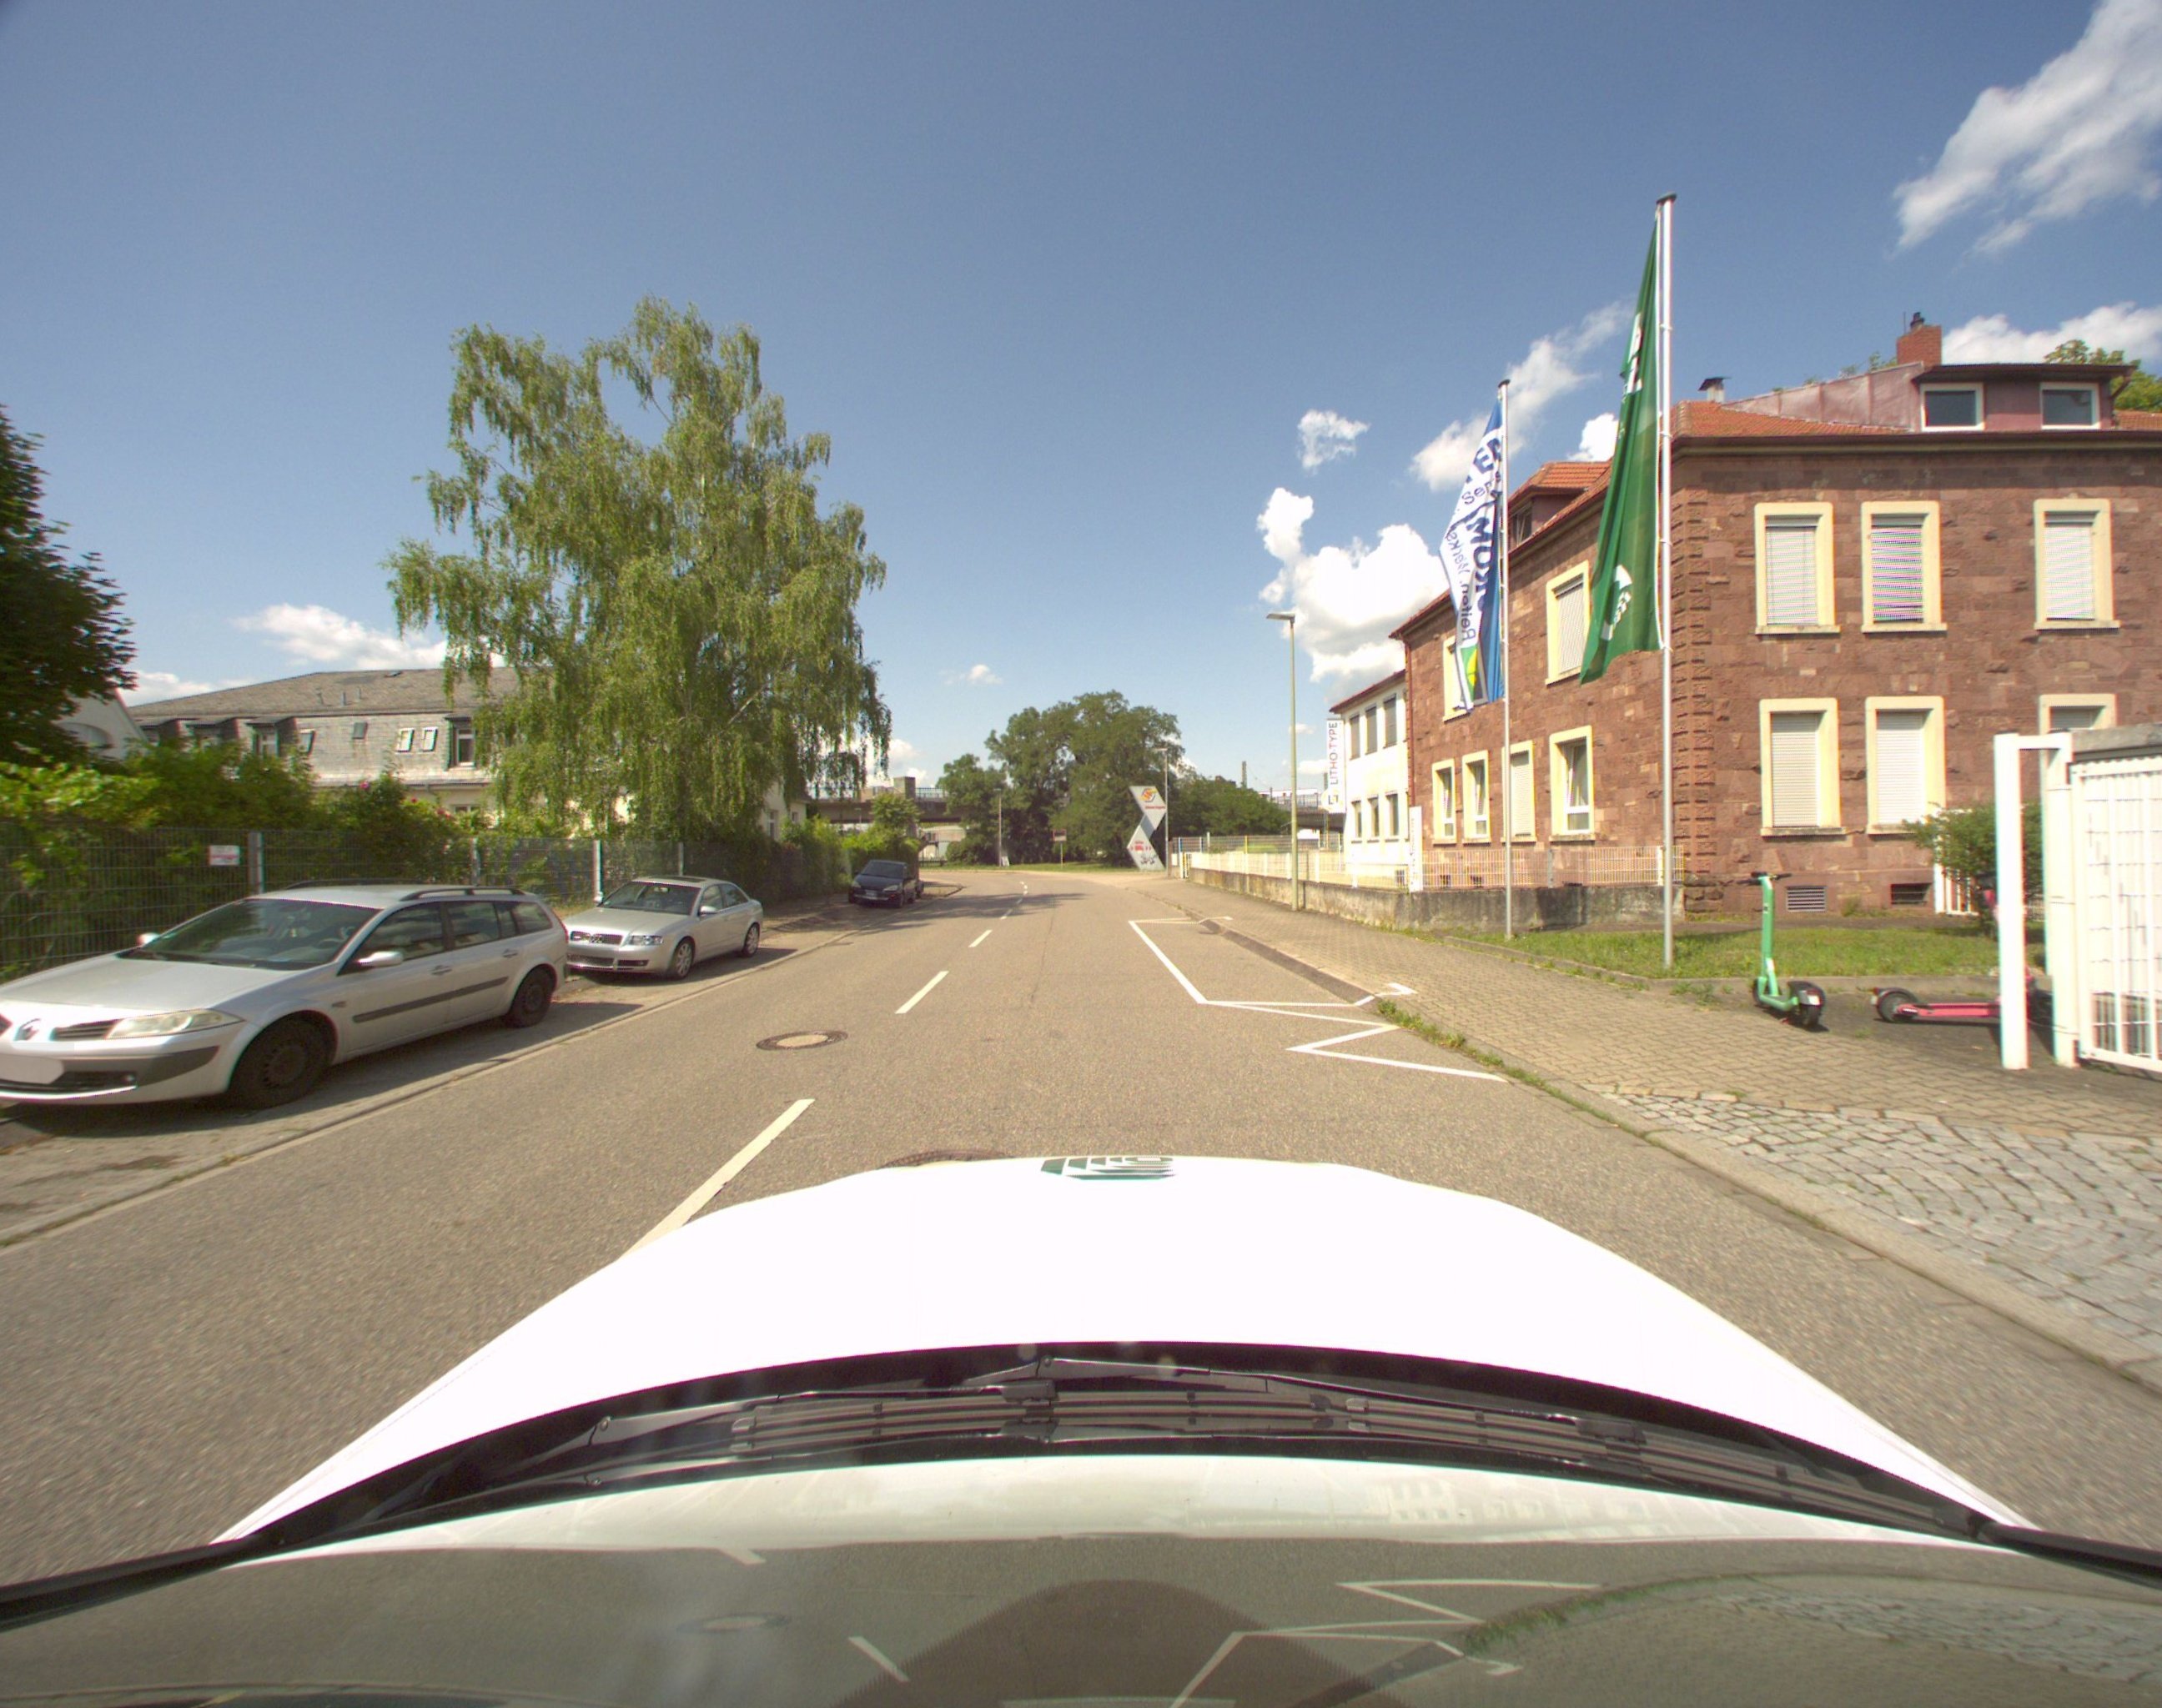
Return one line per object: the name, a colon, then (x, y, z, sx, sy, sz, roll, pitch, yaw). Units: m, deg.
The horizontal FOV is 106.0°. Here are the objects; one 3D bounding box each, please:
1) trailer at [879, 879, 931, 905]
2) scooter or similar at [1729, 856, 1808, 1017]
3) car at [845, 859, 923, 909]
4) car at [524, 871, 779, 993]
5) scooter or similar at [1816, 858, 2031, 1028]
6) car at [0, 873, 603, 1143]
trailer: (-6.922, 1.468, 32.155, 1.459, 0.851, 2.466, 3, 0, 0)
scooter or similar: (5.778, 0.676, 6.855, 0.332, 1.312, 0.366, -1, 0, -1)
car: (-6.608, 0.981, 27.766, 1.678, 1.512, 4.154, 3, -1, -2)
car: (-6.620, 1.099, 13.261, 1.719, 1.477, 4.628, 3, 0, -2)
scooter or similar: (6.452, 0.675, 6.276, 1.137, 1.245, 0.260, -2, -1, 17)
car: (-6.565, 1.007, 7.321, 1.789, 1.527, 4.657, -1, 0, -1)
